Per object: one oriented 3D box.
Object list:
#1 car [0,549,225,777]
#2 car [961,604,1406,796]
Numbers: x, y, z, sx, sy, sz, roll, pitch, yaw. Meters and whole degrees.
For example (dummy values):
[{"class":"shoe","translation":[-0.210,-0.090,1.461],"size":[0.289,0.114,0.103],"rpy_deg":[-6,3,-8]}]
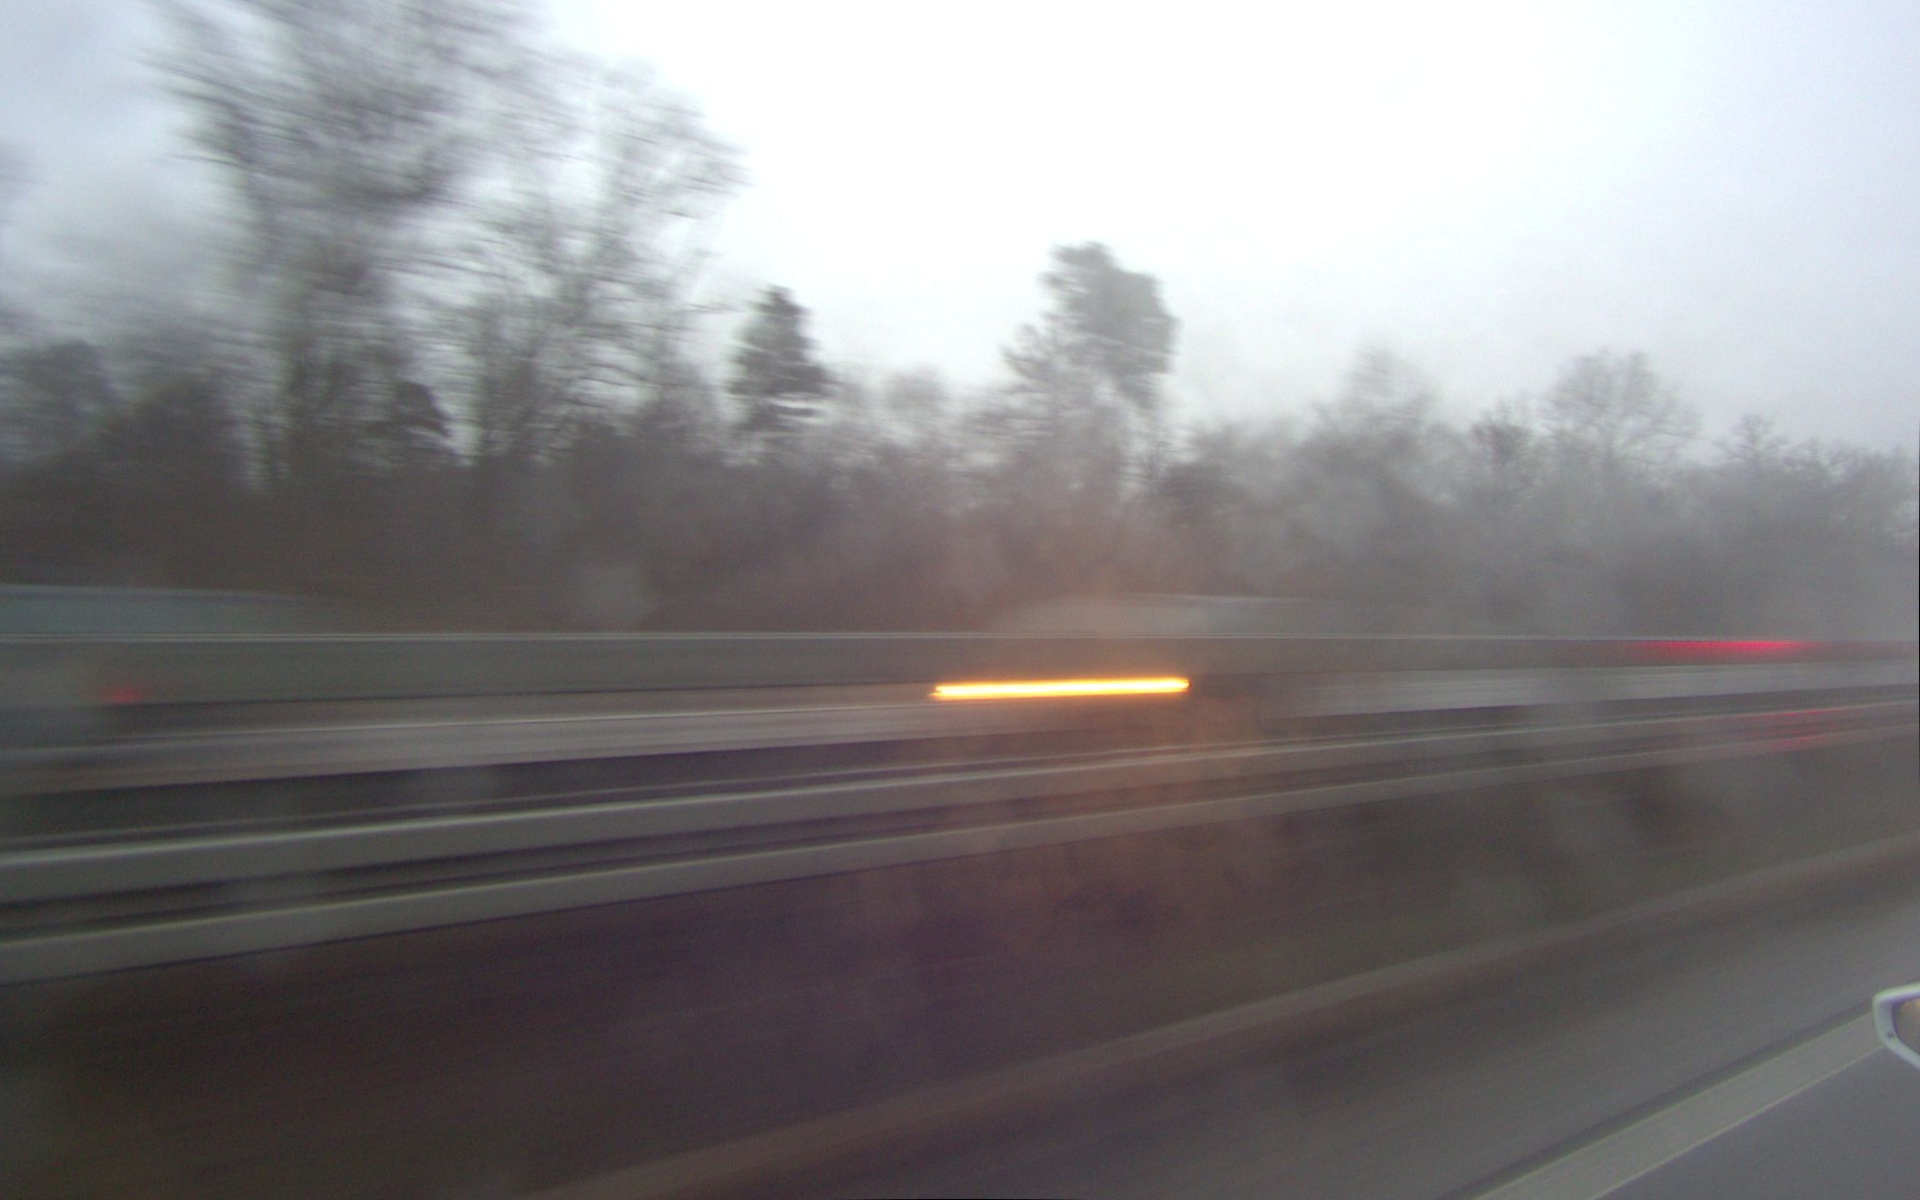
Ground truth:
[{"class":"car","translation":[-8.074,0.454,7.966],"size":[3.463,1.718,1.534],"rpy_deg":[2,0,-32]},{"class":"car","translation":[2.385,0.859,10.299],"size":[4.479,1.569,1.823],"rpy_deg":[1,0,-32]}]
